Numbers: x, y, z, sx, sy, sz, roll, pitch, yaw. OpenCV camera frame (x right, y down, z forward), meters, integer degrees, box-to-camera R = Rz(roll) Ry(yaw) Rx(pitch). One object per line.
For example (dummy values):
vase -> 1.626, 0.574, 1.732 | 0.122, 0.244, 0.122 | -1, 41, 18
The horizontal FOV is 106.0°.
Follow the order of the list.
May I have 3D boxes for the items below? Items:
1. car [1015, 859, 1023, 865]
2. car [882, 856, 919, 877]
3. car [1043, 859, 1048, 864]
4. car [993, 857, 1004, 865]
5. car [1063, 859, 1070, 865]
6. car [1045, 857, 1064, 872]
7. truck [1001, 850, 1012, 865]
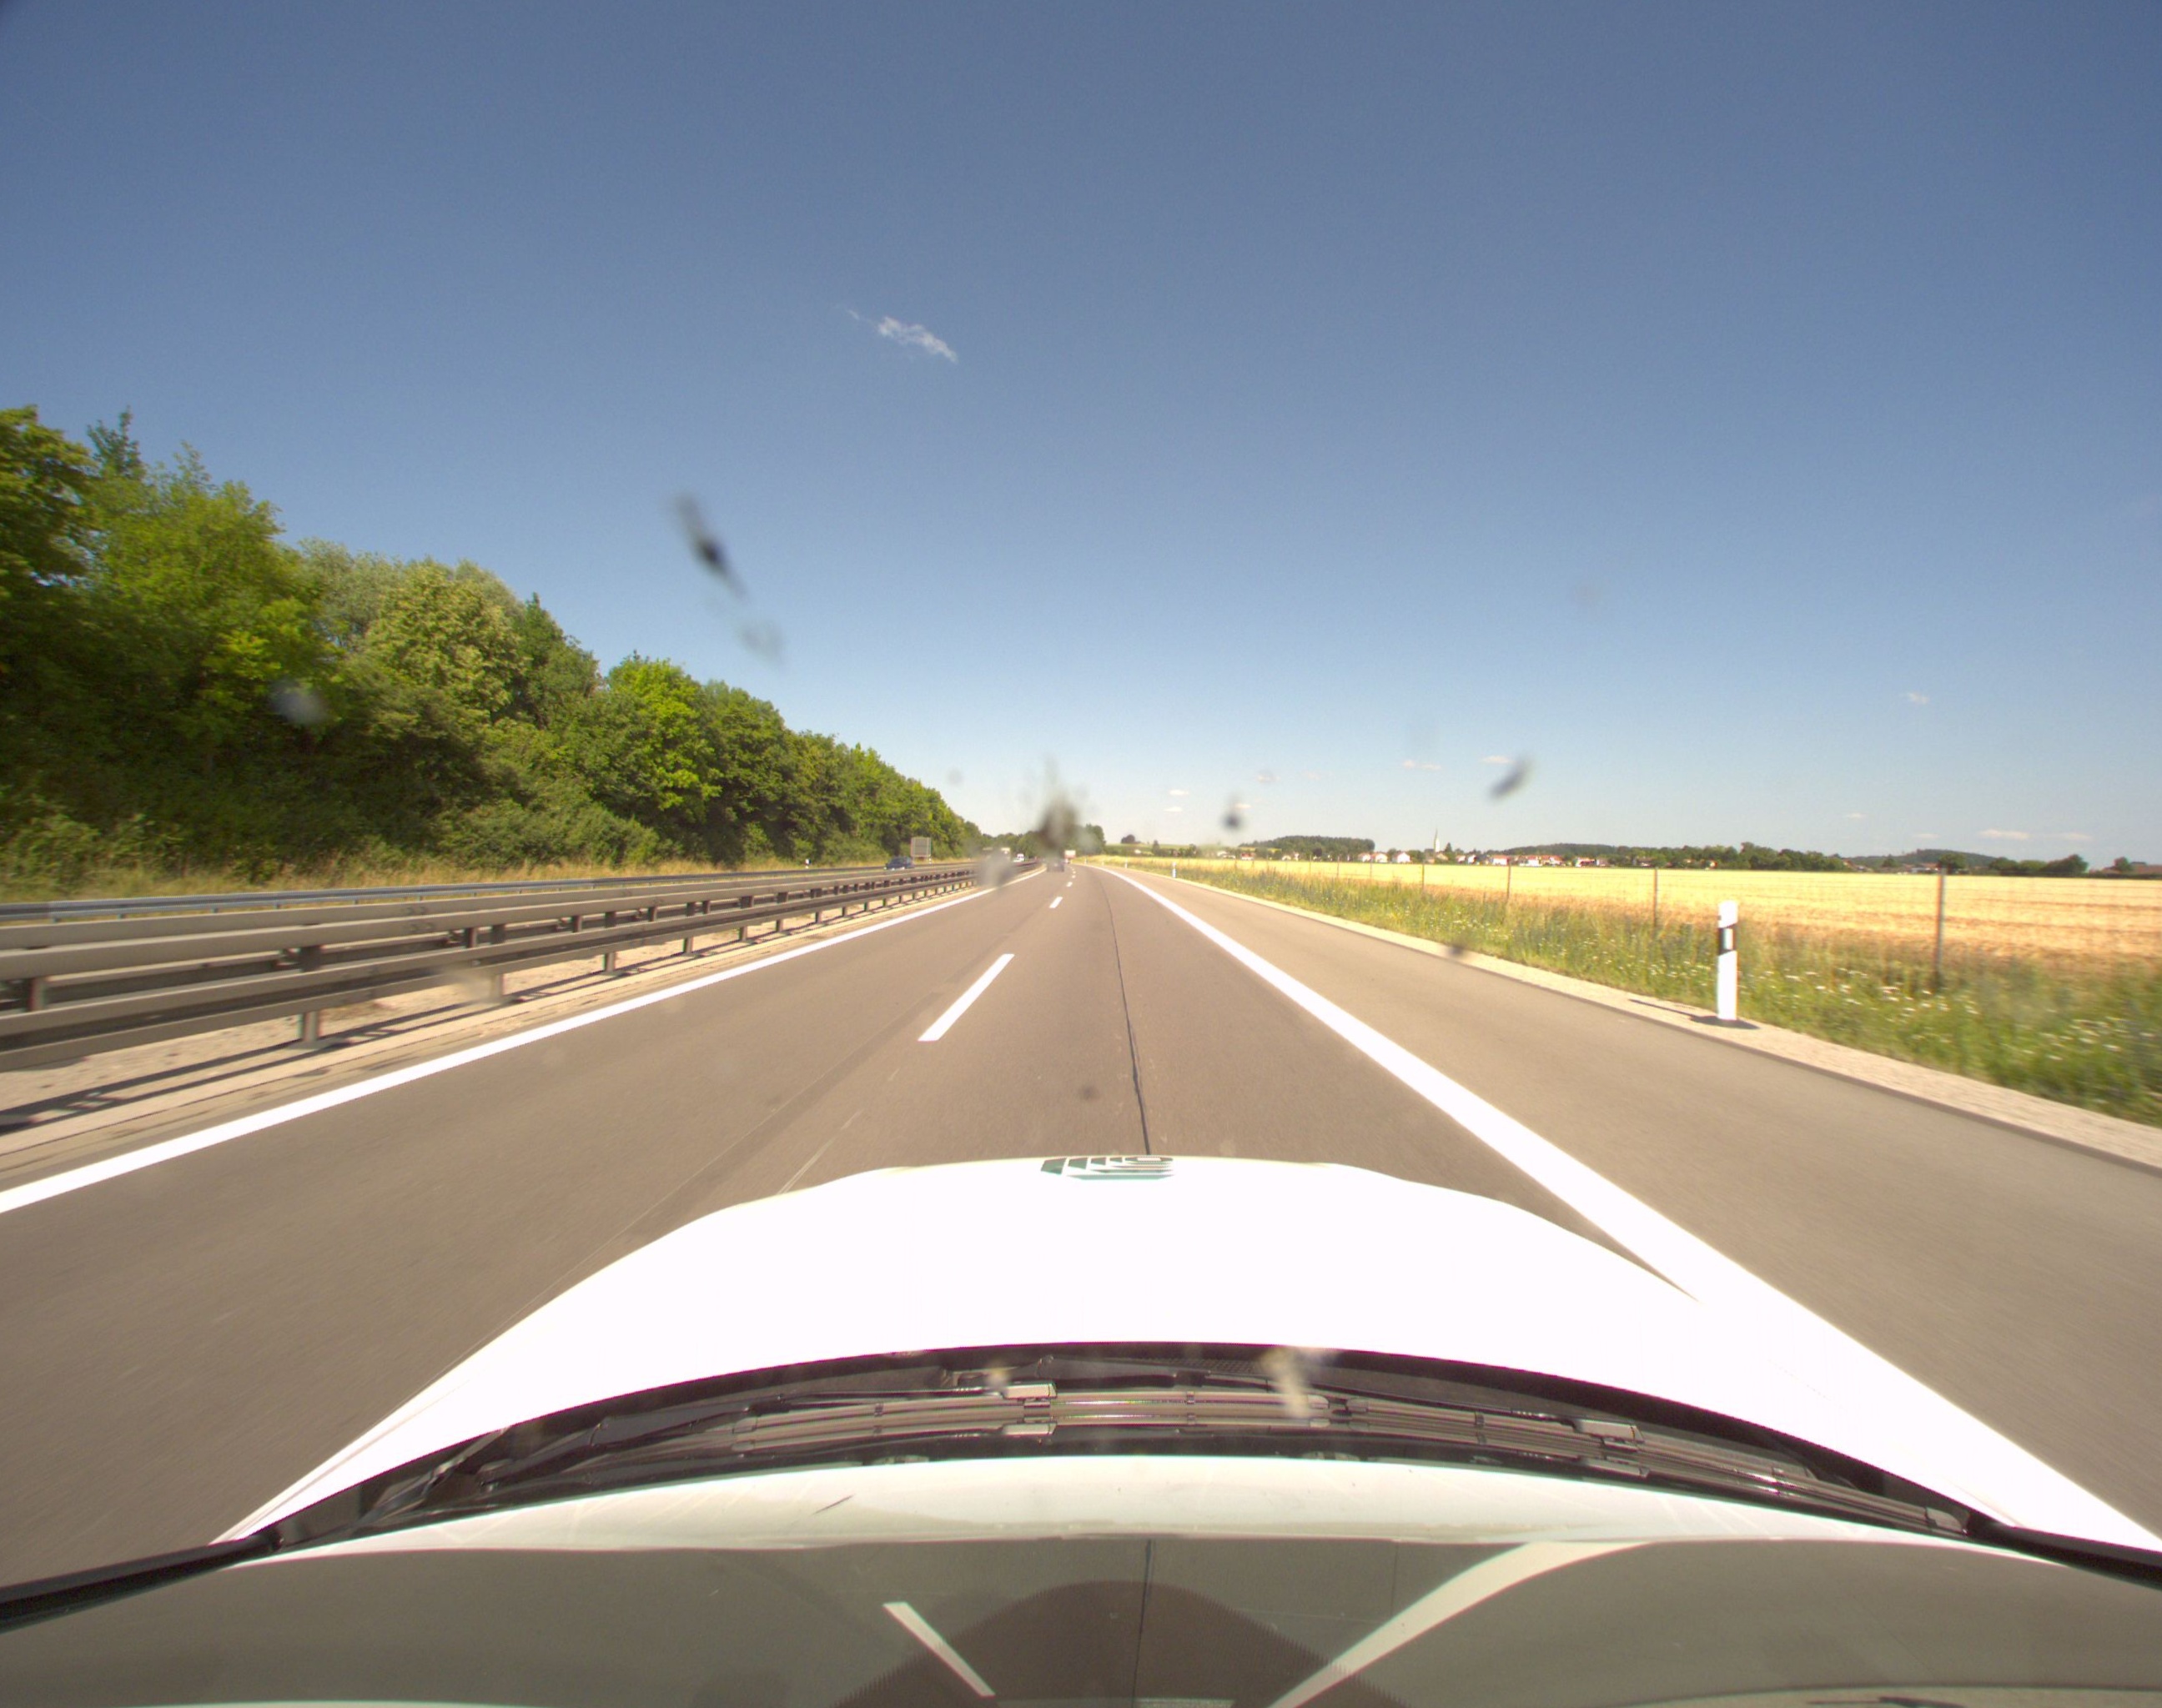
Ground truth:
car -> -15.110, 1.902, 199.820 | 1.681, 1.483, 4.974 | 0, 0, -1
car -> -14.130, 0.929, 64.058 | 1.804, 1.555, 4.849 | 0, 0, 1
car -> -10.970, 2.356, 251.318 | 1.671, 1.453, 3.590 | 0, 0, -1
car -> -15.779, 1.394, 156.463 | 1.668, 1.437, 4.140 | 0, 0, -1
car -> -3.570, 2.018, 201.084 | 1.672, 1.453, 3.588 | 0, 0, -3
car -> -2.846, 1.107, 86.993 | 1.841, 1.432, 5.865 | 0, 0, 0
truck -> -19.675, 0.943, 215.998 | 2.739, 3.829, 5.905 | 0, 0, -3
